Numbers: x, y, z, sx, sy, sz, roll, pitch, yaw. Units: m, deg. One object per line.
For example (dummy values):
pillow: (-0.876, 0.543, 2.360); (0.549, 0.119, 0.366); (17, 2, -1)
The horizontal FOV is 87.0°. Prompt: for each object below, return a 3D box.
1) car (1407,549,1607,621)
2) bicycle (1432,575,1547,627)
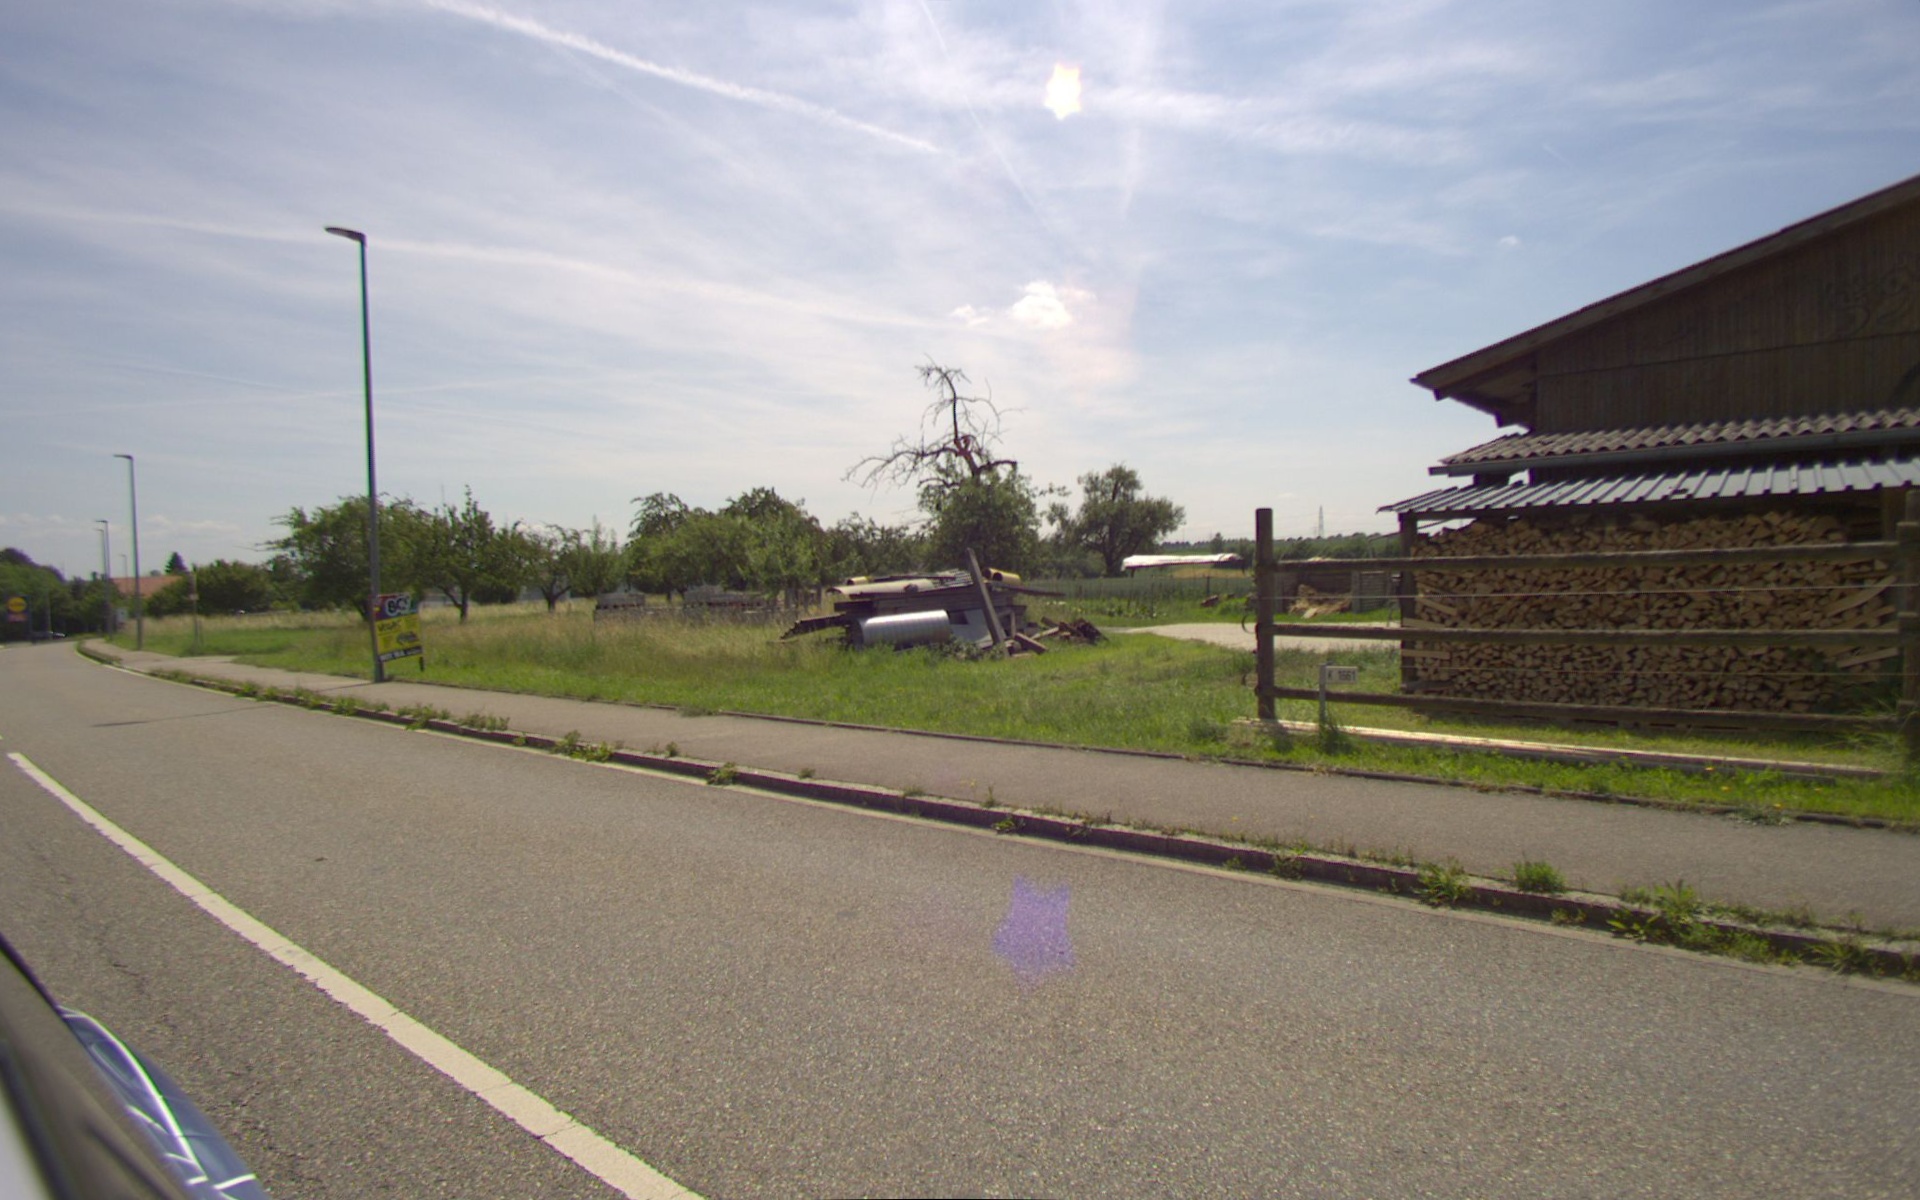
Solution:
car: (13.575, -0.392, 25.294); (3.944, 1.530, 1.794); (-3, 2, 1)
bicycle: (11.791, 0.024, 22.566); (2.111, 1.087, 0.822); (-2, 1, 43)
